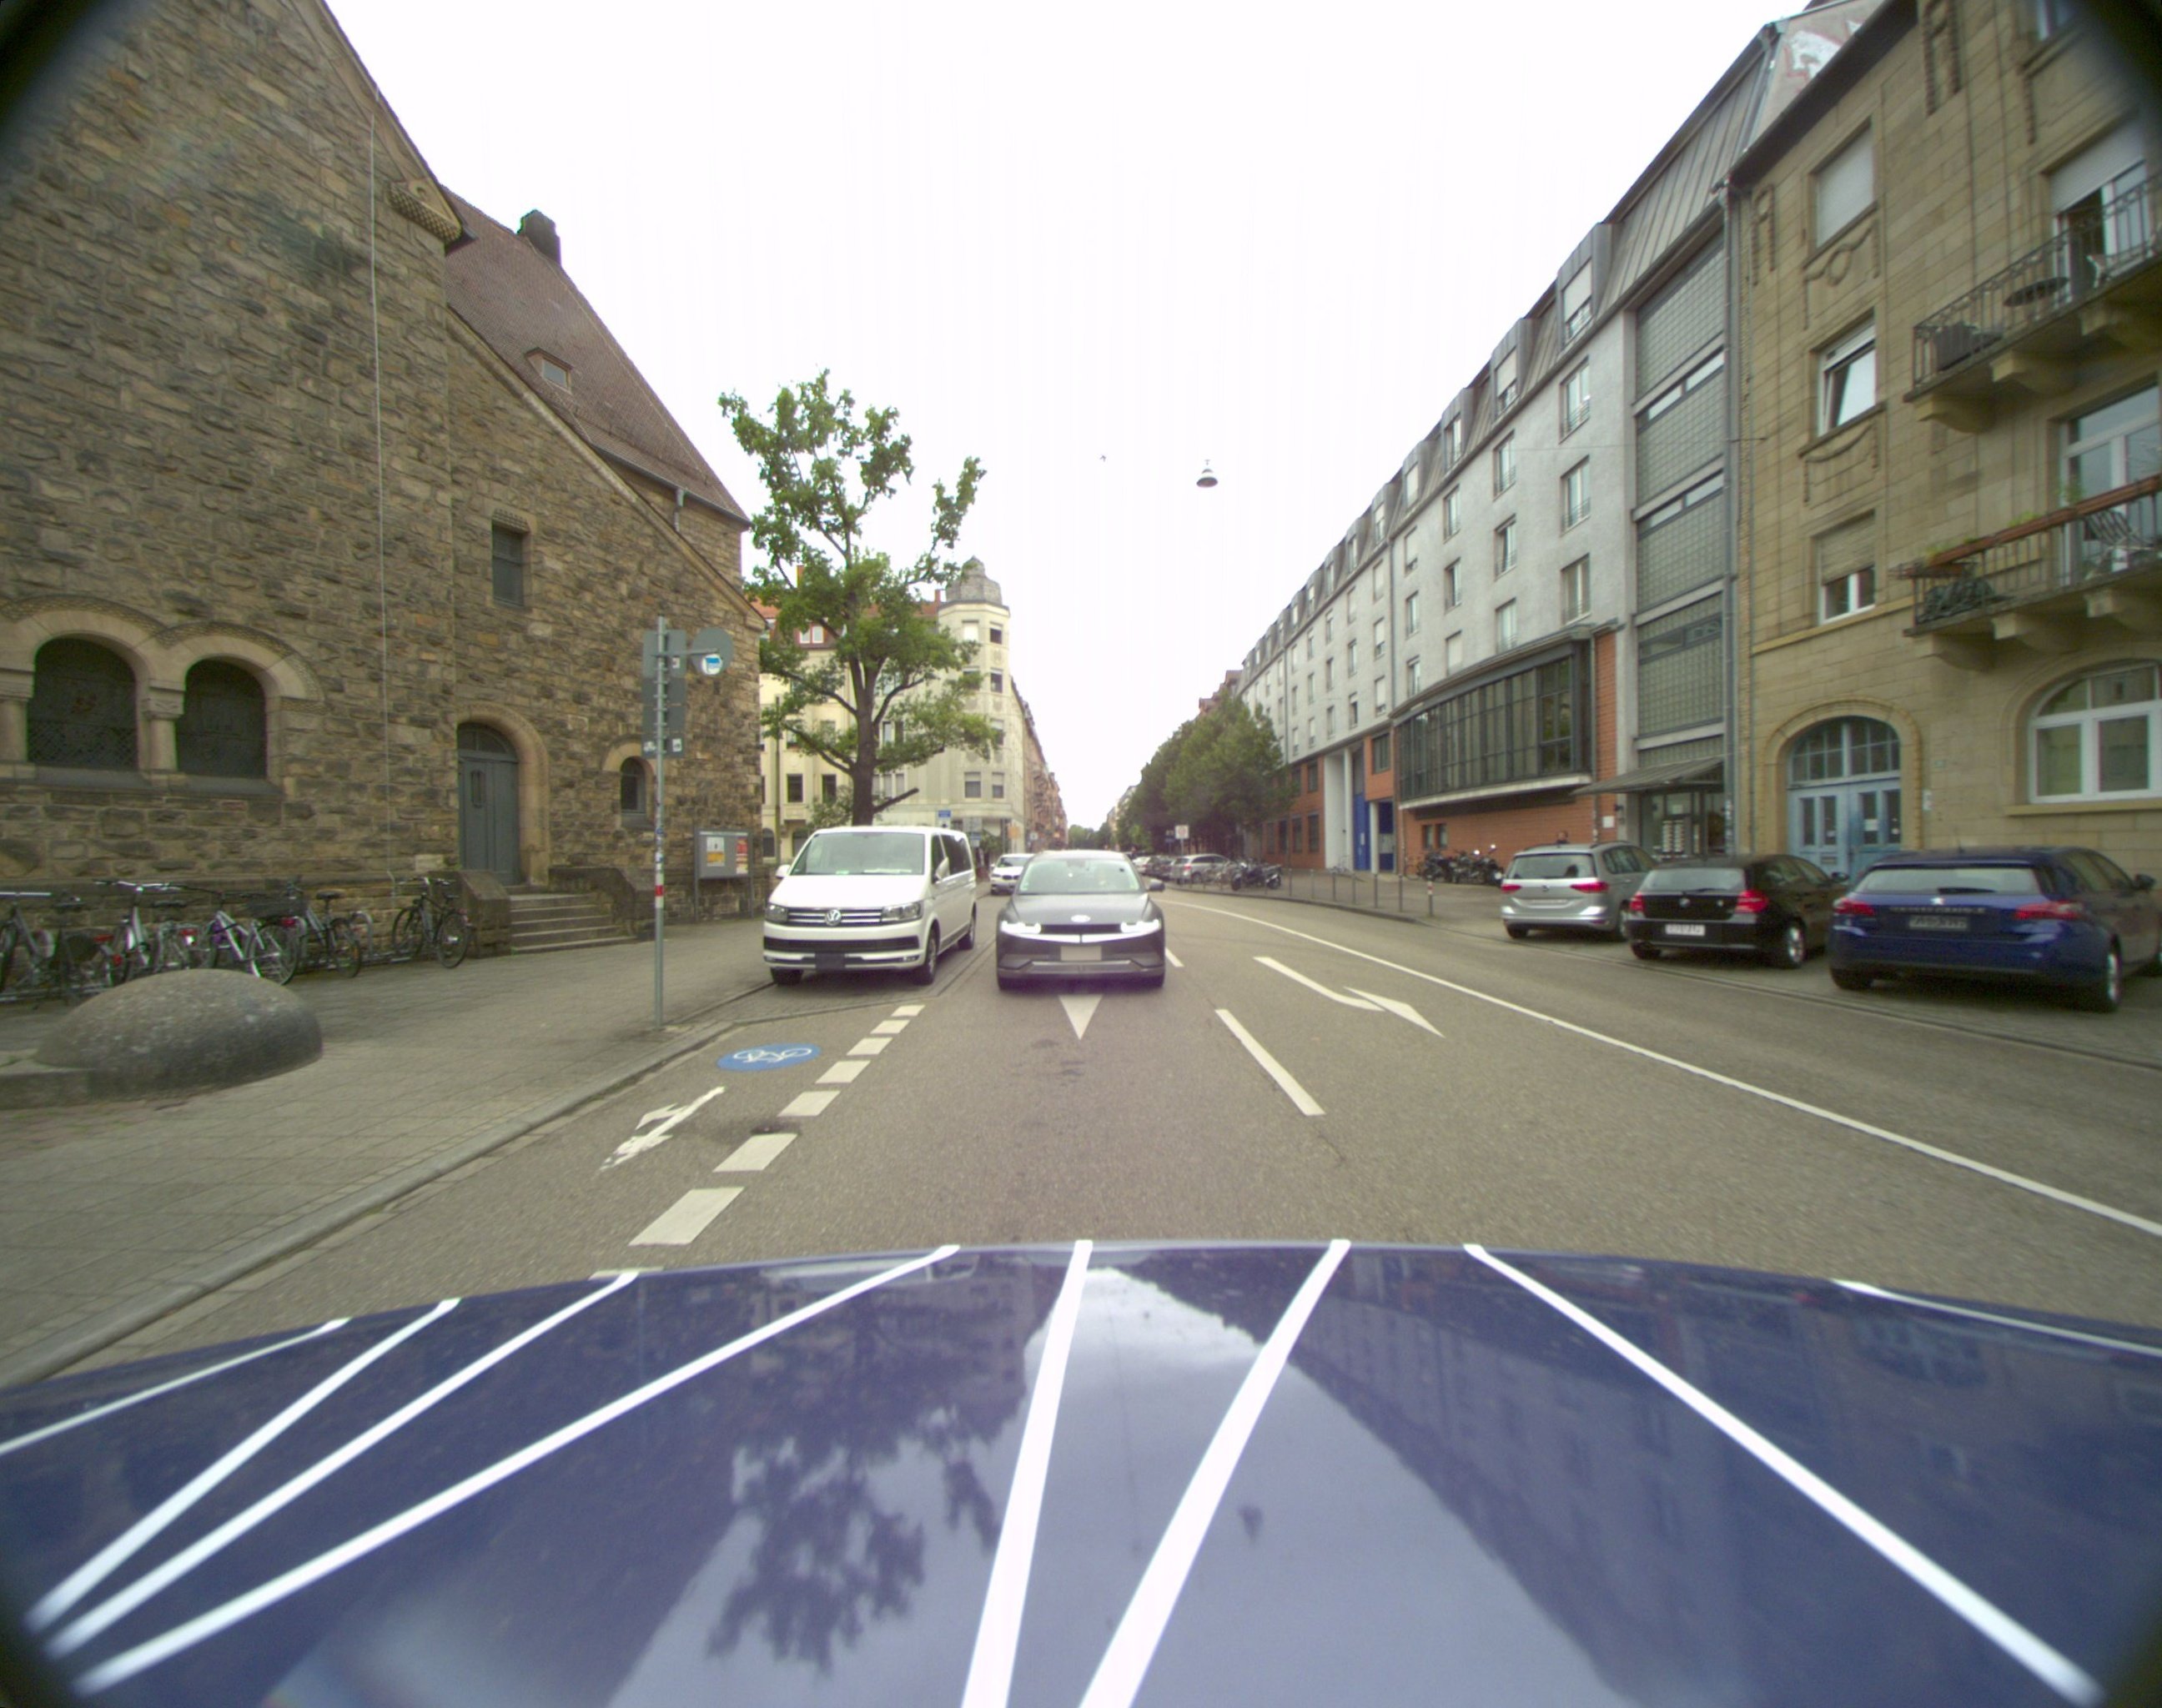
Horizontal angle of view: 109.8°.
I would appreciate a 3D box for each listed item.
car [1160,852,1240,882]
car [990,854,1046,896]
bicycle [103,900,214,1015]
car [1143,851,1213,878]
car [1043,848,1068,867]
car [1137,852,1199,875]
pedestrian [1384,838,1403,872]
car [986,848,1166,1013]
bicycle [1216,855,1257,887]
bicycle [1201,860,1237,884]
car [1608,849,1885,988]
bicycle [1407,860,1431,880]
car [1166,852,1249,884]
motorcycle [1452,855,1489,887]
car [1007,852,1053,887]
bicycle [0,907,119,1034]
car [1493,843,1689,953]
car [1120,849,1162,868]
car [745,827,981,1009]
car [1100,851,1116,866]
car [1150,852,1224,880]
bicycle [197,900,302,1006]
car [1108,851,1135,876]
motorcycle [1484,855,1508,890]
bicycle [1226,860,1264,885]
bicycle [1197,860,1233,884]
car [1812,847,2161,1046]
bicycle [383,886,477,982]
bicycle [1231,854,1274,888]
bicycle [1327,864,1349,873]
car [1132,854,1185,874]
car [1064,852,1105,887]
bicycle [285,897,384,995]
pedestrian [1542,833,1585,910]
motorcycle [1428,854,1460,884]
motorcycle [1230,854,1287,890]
[{"bbox_3d":[6.779,0.713,43.306,4.004,1.619,1.996,-1,0,-22],"label":"car"},{"bbox_3d":[-2.457,0.775,30.434,1.820,1.556,4.000,-1,0,1],"label":"car"},{"bbox_3d":[-9.246,1.010,7.609,1.380,1.054,0.311,-1,1,23],"label":"bicycle"},{"bbox_3d":[6.289,0.668,49.296,4.004,1.619,1.996,-1,0,-22],"label":"car"},{"bbox_3d":[-2.093,0.269,62.861,1.820,1.556,4.000,-1,0,1],"label":"car"},{"bbox_3d":[6.353,0.658,55.242,4.004,1.619,1.996,-1,0,-22],"label":"car"},{"bbox_3d":[15.520,0.044,37.739,0.686,1.640,0.622,-1,1,2],"label":"pedestrian"},{"bbox_3d":[-0.020,0.782,9.788,1.820,1.675,4.000,-1,0,1],"label":"car"},{"bbox_3d":[6.665,0.741,32.531,1.630,1.282,0.416,-2,1,-1],"label":"bicycle"},{"bbox_3d":[6.575,0.871,36.273,1.630,1.067,0.416,-2,1,-1],"label":"bicycle"},{"bbox_3d":[9.324,0.761,10.576,4.006,1.430,1.729,-3,0,-31],"label":"car"},{"bbox_3d":[14.074,0.663,31.633,0.336,0.783,1.581,-1,0,2],"label":"bicycle"},{"bbox_3d":[6.757,0.729,40.646,4.004,1.619,1.769,-1,0,-22],"label":"car"},{"bbox_3d":[13.854,0.574,27.041,0.446,1.091,1.763,-1,0,2],"label":"motorcycle"},{"bbox_3d":[-2.384,0.708,36.353,1.820,1.556,4.000,-1,0,1],"label":"car"},{"bbox_3d":[-9.360,1.034,6.958,1.380,1.054,0.311,-1,1,23],"label":"bicycle"},{"bbox_3d":[9.216,0.690,13.625,4.007,1.545,1.729,-4,1,-38],"label":"car"},{"bbox_3d":[6.455,0.462,81.539,4.004,1.897,1.996,-1,0,-22],"label":"car"},{"bbox_3d":[-2.642,0.670,10.623,1.810,1.908,5.163,-1,0,0],"label":"car"},{"bbox_3d":[3.536,0.544,100.372,1.998,1.897,4.000,-1,0,2],"label":"car"},{"bbox_3d":[6.469,0.690,46.525,4.004,1.619,1.996,-1,0,-22],"label":"car"},{"bbox_3d":[-9.052,1.048,8.266,1.380,1.054,0.311,-1,1,23],"label":"bicycle"},{"bbox_3d":[3.000,0.708,56.841,1.698,1.793,4.128,0,0,-1],"label":"car"},{"bbox_3d":[13.513,0.580,24.764,0.445,1.091,1.765,-1,0,21],"label":"motorcycle"},{"bbox_3d":[7.620,0.857,35.222,1.630,1.067,0.416,-2,1,-1],"label":"bicycle"},{"bbox_3d":[6.468,0.867,36.789,1.630,1.067,0.416,-2,1,-1],"label":"bicycle"},{"bbox_3d":[9.566,0.765,7.873,3.754,1.437,1.820,-3,0,-29],"label":"car"},{"bbox_3d":[-8.230,0.989,9.599,1.340,1.140,0.311,-1,1,23],"label":"bicycle"},{"bbox_3d":[7.152,0.707,31.703,1.630,1.345,0.416,-2,1,-1],"label":"bicycle"},{"bbox_3d":[13.637,0.744,40.276,1.010,0.434,0.527,-1,2,2],"label":"bicycle"},{"bbox_3d":[6.315,0.791,61.879,4.004,1.488,1.735,-1,0,-22],"label":"car"},{"bbox_3d":[0.227,0.734,38.525,1.910,1.597,4.251,-1,1,2],"label":"car"},{"bbox_3d":[-8.674,1.038,8.824,1.340,1.054,0.311,-1,1,23],"label":"bicycle"},{"bbox_3d":[11.665,0.415,18.393,0.621,1.812,0.642,-1,1,1],"label":"pedestrian"},{"bbox_3d":[13.857,0.547,29.049,0.446,1.091,1.763,-1,0,2],"label":"motorcycle"},{"bbox_3d":[7.170,0.730,30.693,2.124,1.345,0.599,-2,1,1],"label":"motorcycle"}]
